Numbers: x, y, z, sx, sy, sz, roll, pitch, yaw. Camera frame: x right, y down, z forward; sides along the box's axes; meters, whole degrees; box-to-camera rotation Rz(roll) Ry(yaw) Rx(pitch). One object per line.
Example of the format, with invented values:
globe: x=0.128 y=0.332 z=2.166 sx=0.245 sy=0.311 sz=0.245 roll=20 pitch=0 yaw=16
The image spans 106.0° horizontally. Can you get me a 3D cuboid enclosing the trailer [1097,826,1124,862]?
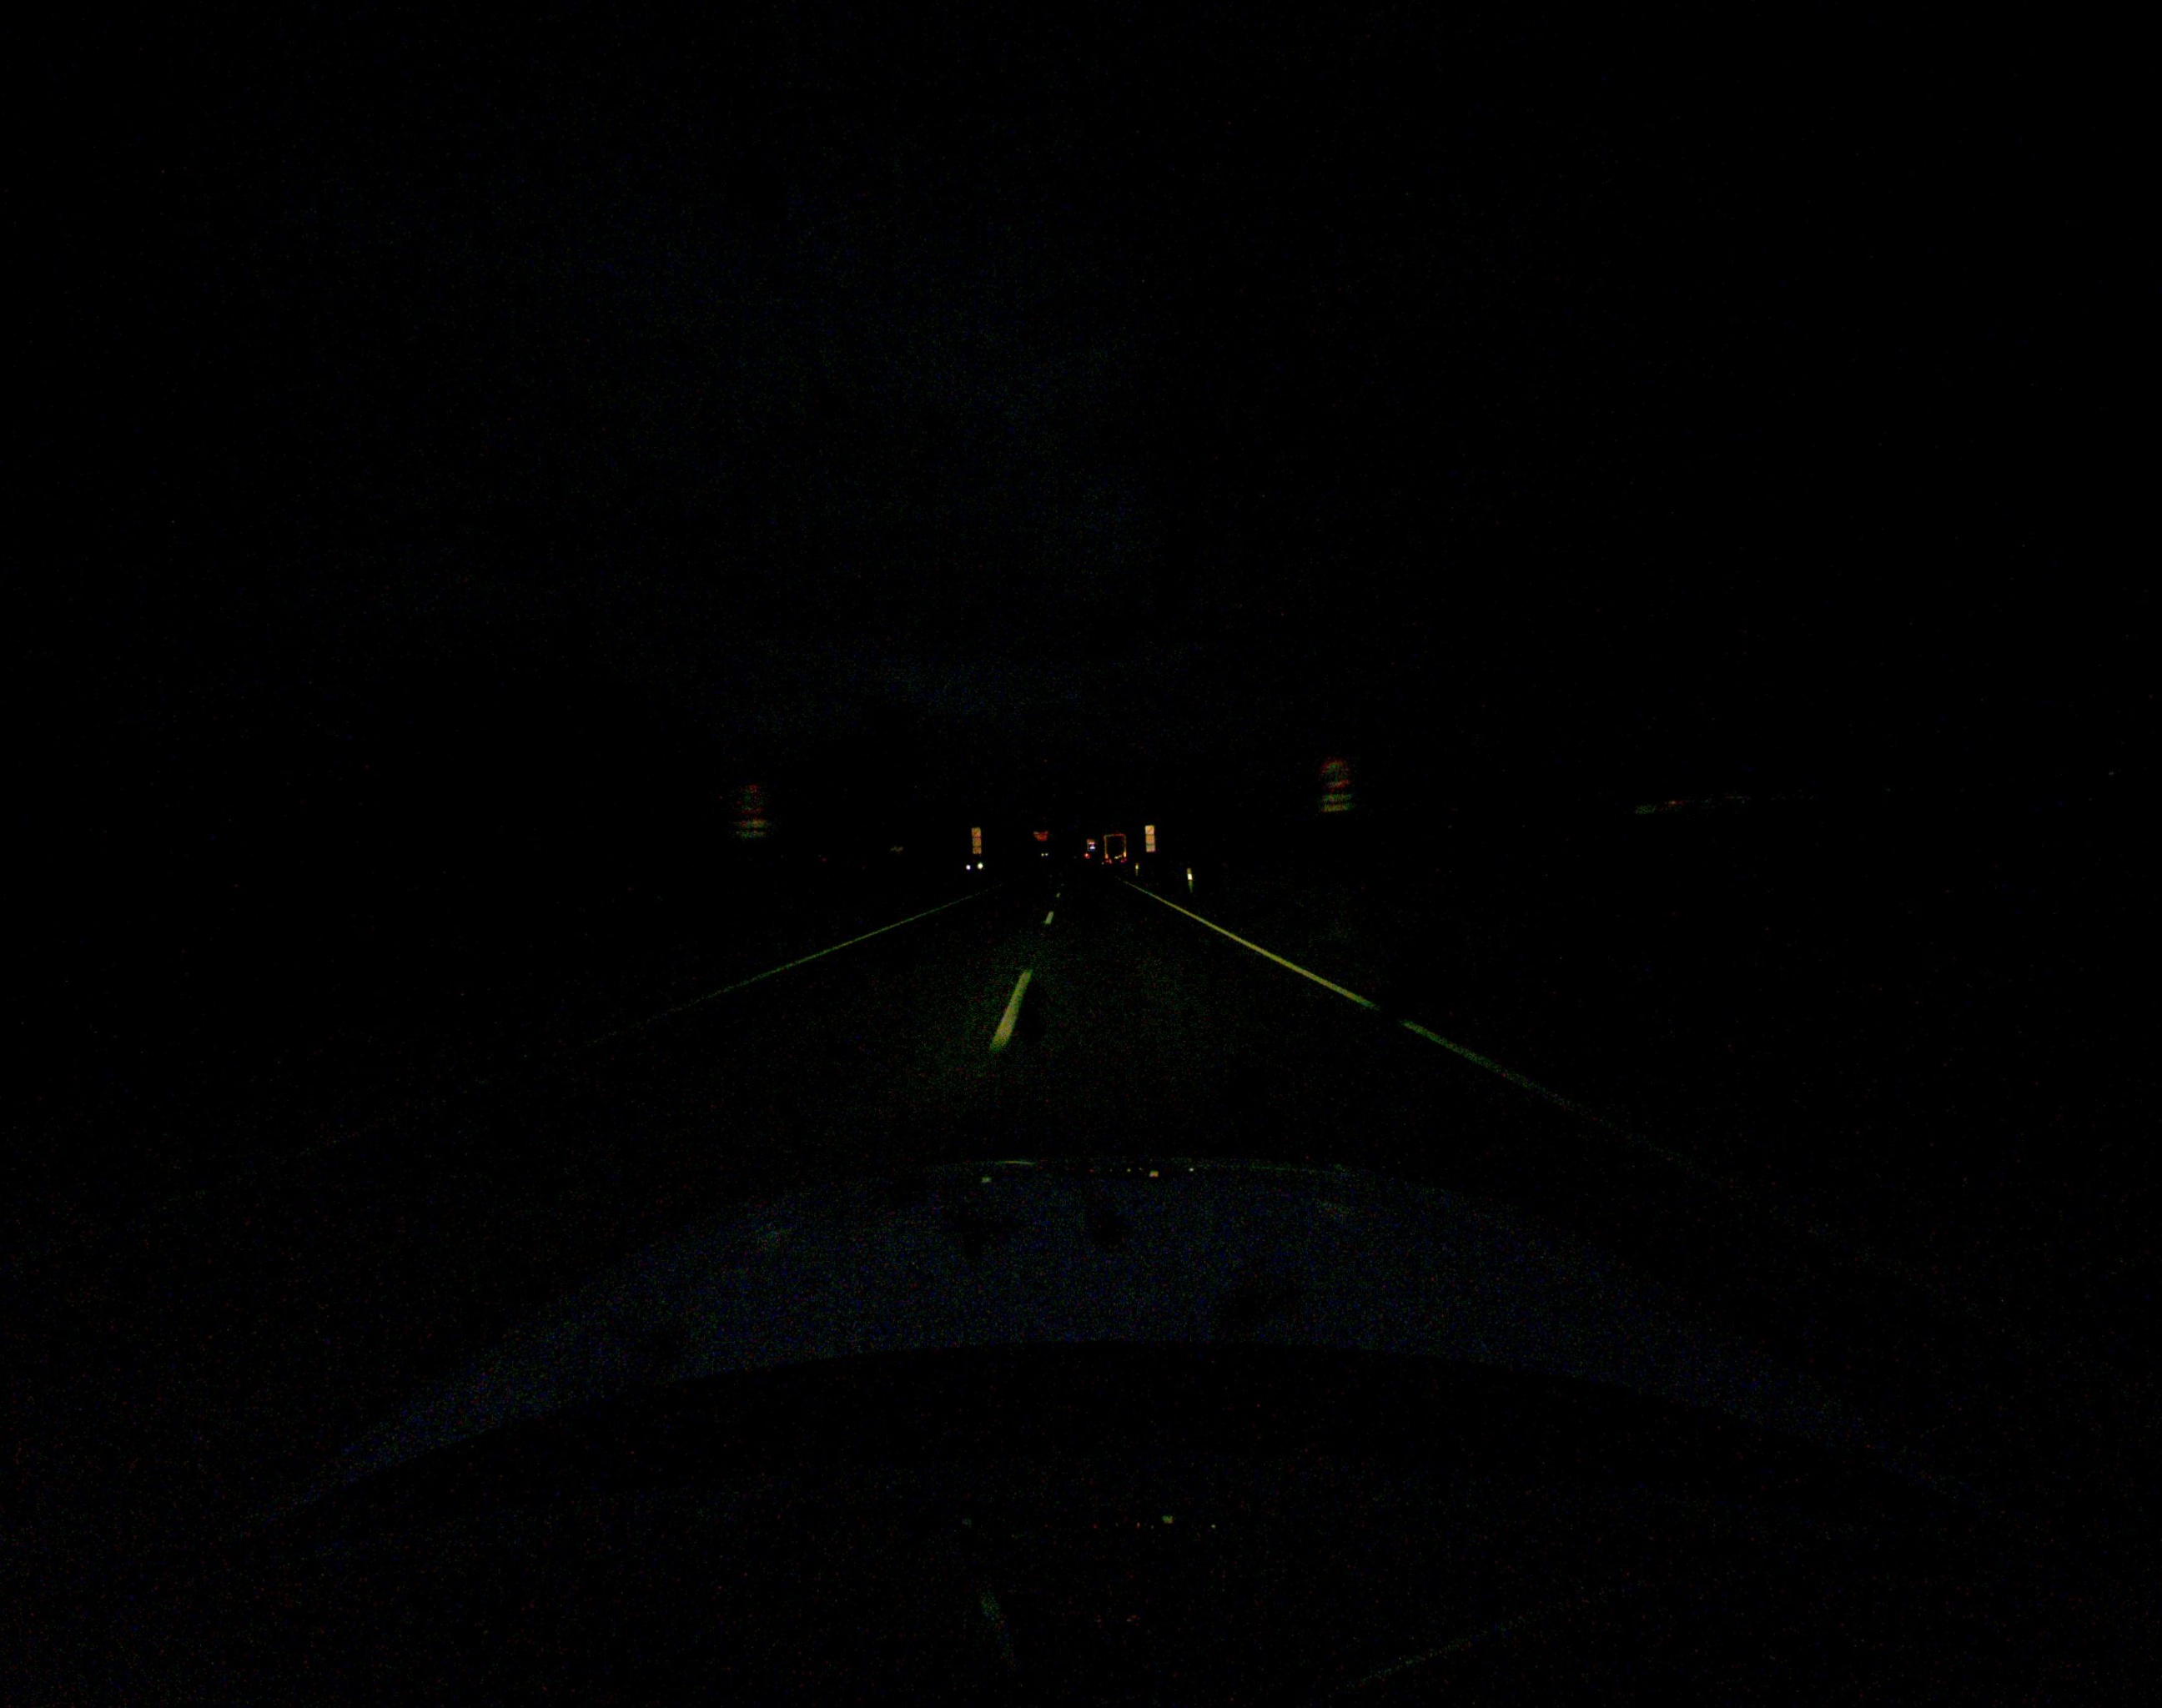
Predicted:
trailer: x=3.655 y=-1.178 z=102.786 sx=2.614 sy=4.104 sz=12.932 roll=-3 pitch=0 yaw=-1

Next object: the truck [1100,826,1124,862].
truck: x=3.653 y=-1.180 z=96.119 sx=2.571 sy=4.071 sz=6.129 roll=-1 pitch=0 yaw=0
